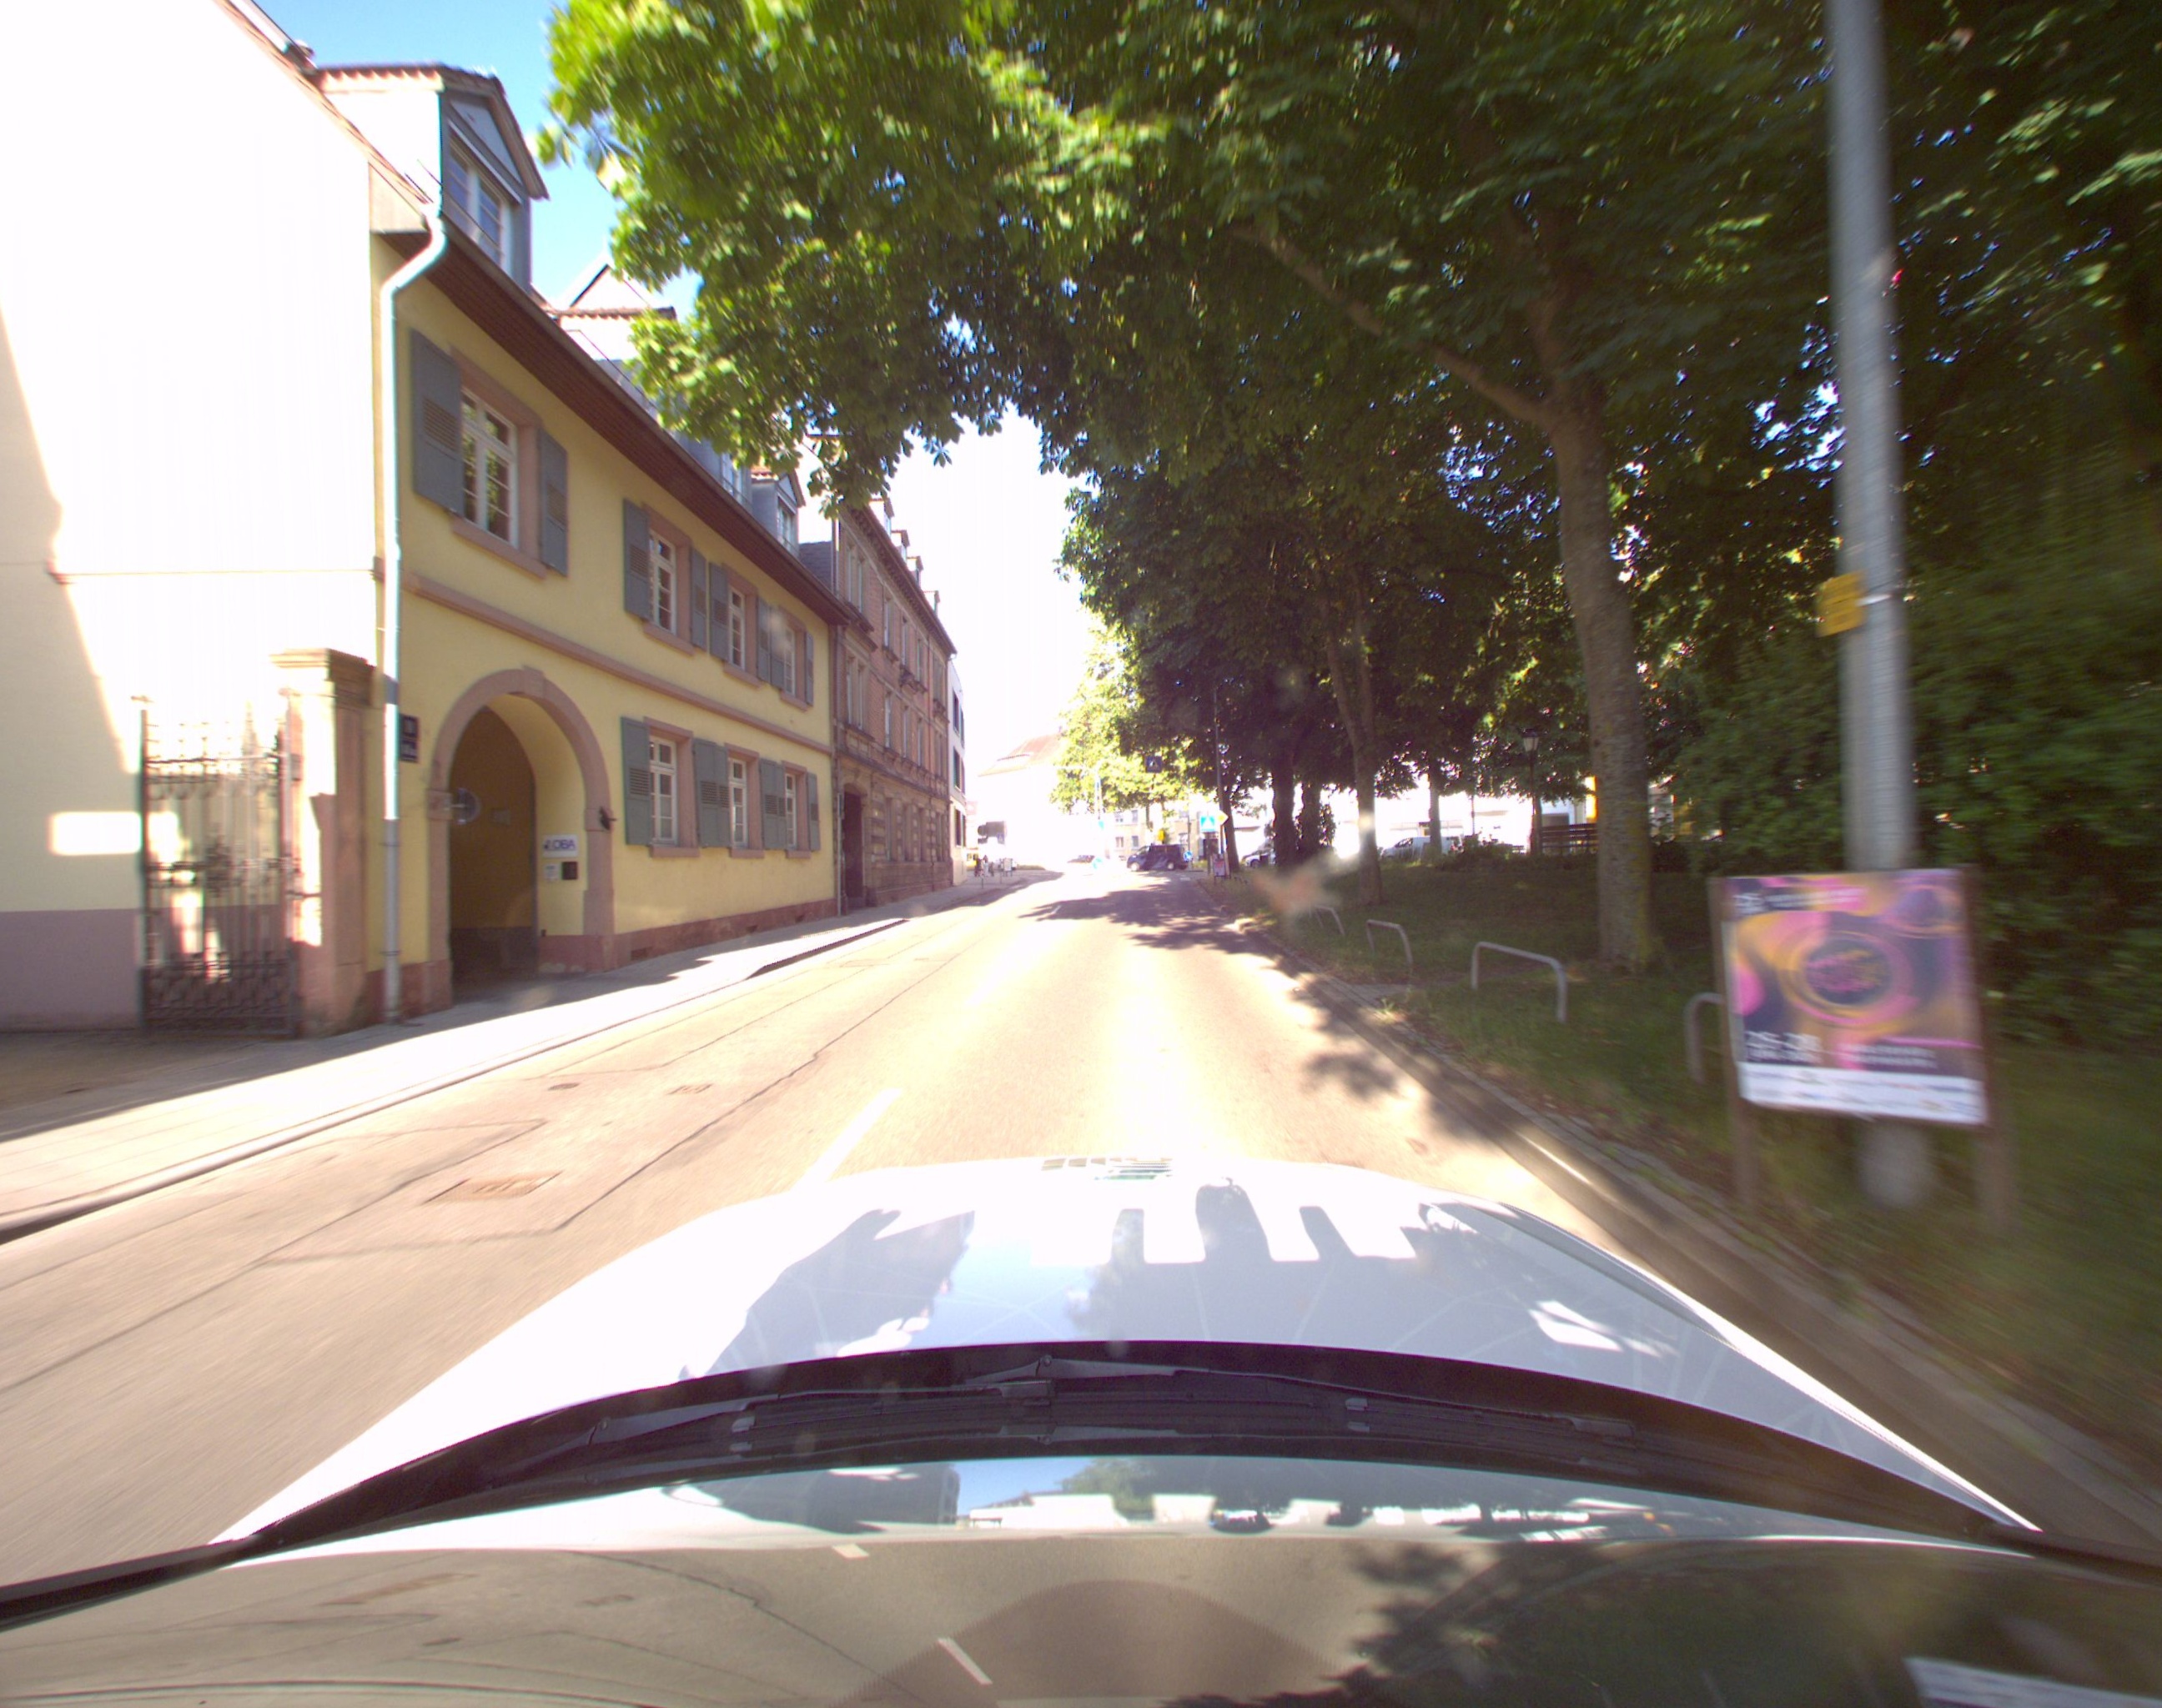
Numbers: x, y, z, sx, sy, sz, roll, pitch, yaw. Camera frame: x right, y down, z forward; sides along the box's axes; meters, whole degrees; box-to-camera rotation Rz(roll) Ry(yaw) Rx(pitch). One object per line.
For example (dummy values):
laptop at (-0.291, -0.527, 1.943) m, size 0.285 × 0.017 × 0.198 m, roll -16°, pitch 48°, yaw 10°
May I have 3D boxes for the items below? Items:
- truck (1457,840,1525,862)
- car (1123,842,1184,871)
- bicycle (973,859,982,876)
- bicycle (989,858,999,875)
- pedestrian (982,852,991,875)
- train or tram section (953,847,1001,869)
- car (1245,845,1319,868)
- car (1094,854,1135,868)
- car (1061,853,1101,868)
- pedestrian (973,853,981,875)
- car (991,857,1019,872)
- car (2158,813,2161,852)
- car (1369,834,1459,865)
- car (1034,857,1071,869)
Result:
truck at (30.271, -0.216, 60.195) m, size 2.011 × 1.585 × 4.048 m, roll -2°, pitch 0°, yaw -42°
car at (5.254, 0.187, 59.120) m, size 3.948 × 2.014 × 2.013 m, roll -1°, pitch -1°, yaw 33°
bicycle at (-7.417, 0.927, 58.166) m, size 0.376 × 1.167 × 1.828 m, roll -4°, pitch 1°, yaw -14°
bicycle at (-6.239, 0.906, 58.438) m, size 0.441 × 1.178 × 1.956 m, roll 0°, pitch 0°, yaw -16°
pedestrian at (-6.799, 0.695, 58.427) m, size 0.475 × 1.647 × 0.599 m, roll -2°, pitch 0°, yaw -16°
train or tram section at (-17.276, 0.626, 136.068) m, size 2.749 × 3.555 × 9.980 m, roll -2°, pitch -1°, yaw 28°
car at (14.068, 0.170, 56.933) m, size 4.713 × 1.463 × 1.865 m, roll -1°, pitch 0°, yaw 25°
car at (3.662, 0.791, 90.218) m, size 2.011 × 1.386 × 4.392 m, roll -2°, pitch 0°, yaw -42°
car at (-0.014, 0.773, 94.491) m, size 2.011 × 1.572 × 4.585 m, roll -2°, pitch -1°, yaw -42°
pedestrian at (-7.456, 0.729, 58.477) m, size 0.475 × 1.565 × 0.599 m, roll -1°, pitch 0°, yaw -17°
car at (-7.793, 1.061, 83.041) m, size 1.965 × 1.505 × 3.661 m, roll -2°, pitch 0°, yaw -19°
car at (41.631, -0.841, 29.034) m, size 1.685 × 1.422 × 3.754 m, roll -3°, pitch 1°, yaw -41°
car at (20.973, -0.263, 51.414) m, size 4.839 × 1.854 × 2.013 m, roll -1°, pitch 0°, yaw 38°
car at (-3.420, 1.080, 98.412) m, size 4.391 × 1.386 × 2.012 m, roll -1°, pitch 0°, yaw 45°
